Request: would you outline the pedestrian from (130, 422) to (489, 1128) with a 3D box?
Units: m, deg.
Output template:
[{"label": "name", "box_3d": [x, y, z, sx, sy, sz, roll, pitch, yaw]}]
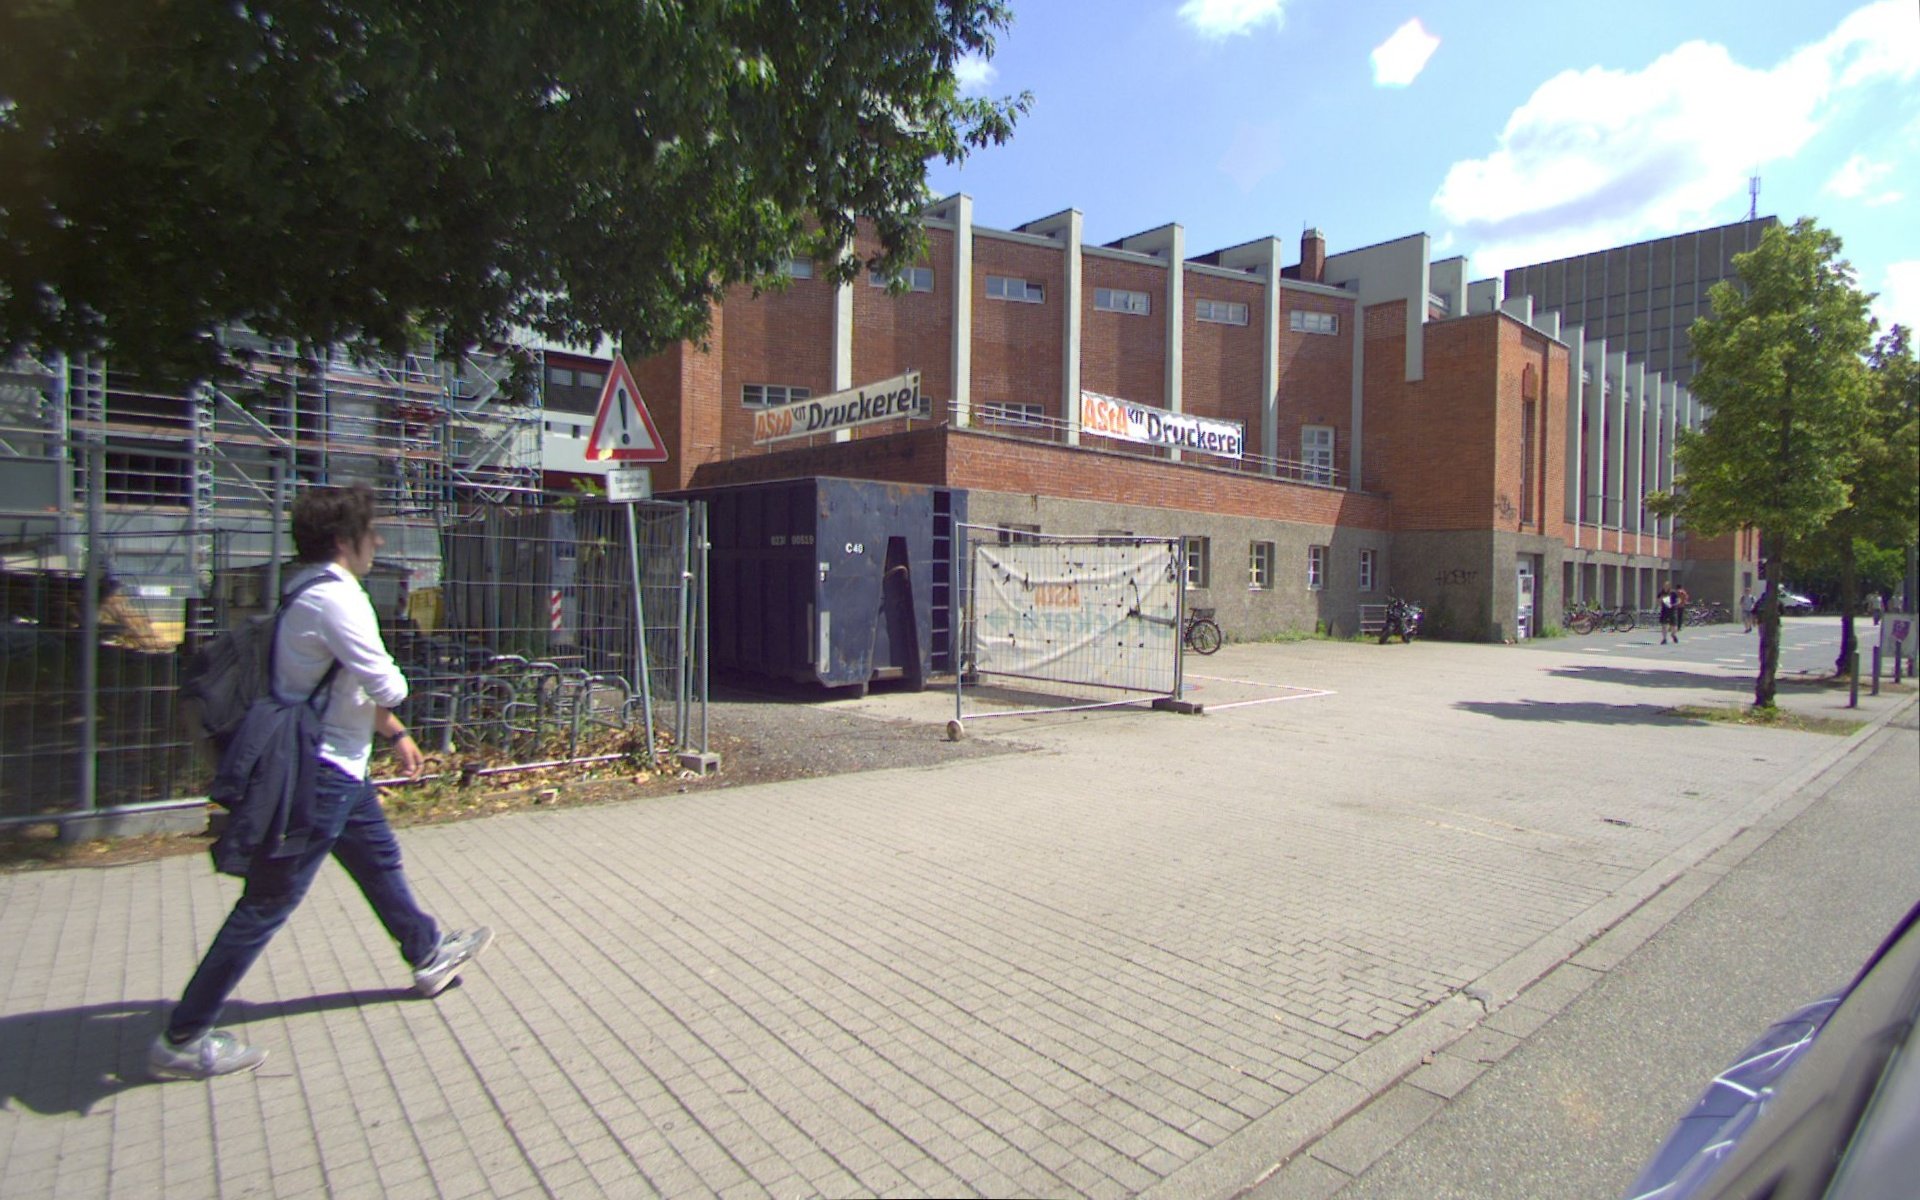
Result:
[{"label": "pedestrian", "box_3d": [-1.987, 0.435, 3.102, 0.694, 1.803, 0.775, 2, 1, 42]}]

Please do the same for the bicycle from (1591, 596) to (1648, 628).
[{"label": "bicycle", "box_3d": [24.143, 0.428, 37.081, 0.428, 1.124, 1.684, 0, 1, -43]}]

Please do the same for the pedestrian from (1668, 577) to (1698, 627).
[{"label": "pedestrian", "box_3d": [27.506, 0.060, 38.505, 0.889, 1.857, 0.665, 0, 1, -38]}]

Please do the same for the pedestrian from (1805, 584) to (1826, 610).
[{"label": "pedestrian", "box_3d": [66.187, -0.263, 78.317, 0.973, 1.970, 0.970, 1, 1, 25]}]

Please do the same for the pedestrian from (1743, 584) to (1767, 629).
[{"label": "pedestrian", "box_3d": [31.307, 0.251, 39.863, 0.986, 1.728, 0.585, -1, 2, -44]}]

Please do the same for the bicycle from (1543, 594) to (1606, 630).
[{"label": "bicycle", "box_3d": [20.601, 0.391, 33.960, 0.428, 1.164, 1.755, 0, 1, -43]}]

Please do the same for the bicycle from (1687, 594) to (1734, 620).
[{"label": "bicycle", "box_3d": [34.995, 0.321, 47.187, 0.428, 1.124, 1.696, 0, 1, -43]}]

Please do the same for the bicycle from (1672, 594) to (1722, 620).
[{"label": "bicycle", "box_3d": [33.266, 0.308, 45.696, 0.428, 1.124, 1.799, 0, 1, -43]}]

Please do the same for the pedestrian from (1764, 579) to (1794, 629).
[{"label": "pedestrian", "box_3d": [31.715, 0.135, 39.194, 1.090, 1.913, 0.665, -1, 2, -40]}]

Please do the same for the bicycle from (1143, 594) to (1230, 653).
[{"label": "bicycle", "box_3d": [4.624, 0.465, 20.770, 0.440, 1.123, 1.809, 0, 1, -41]}]

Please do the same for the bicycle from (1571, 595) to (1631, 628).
[{"label": "bicycle", "box_3d": [22.967, 0.392, 36.280, 0.428, 1.124, 1.749, 0, 1, -43]}]

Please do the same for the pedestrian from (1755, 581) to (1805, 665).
[{"label": "pedestrian", "box_3d": [17.186, 0.463, 21.221, 0.778, 1.718, 0.643, 0, 1, -38]}]

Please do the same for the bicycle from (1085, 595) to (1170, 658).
[{"label": "bicycle", "box_3d": [3.186, 0.484, 19.342, 0.440, 1.123, 1.704, 0, 1, -41]}]

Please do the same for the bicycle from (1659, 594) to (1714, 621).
[{"label": "bicycle", "box_3d": [31.940, 0.327, 44.505, 0.428, 1.124, 1.913, 0, 1, -43]}]

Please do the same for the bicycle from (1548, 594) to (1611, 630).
[{"label": "bicycle", "box_3d": [21.201, 0.387, 34.655, 0.509, 1.164, 1.755, 0, 1, -43]}]

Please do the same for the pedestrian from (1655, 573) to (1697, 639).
[{"label": "pedestrian", "box_3d": [20.891, 0.157, 29.506, 0.844, 1.857, 1.179, 1, 1, 43]}]

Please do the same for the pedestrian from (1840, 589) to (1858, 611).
[{"label": "pedestrian", "box_3d": [67.962, -0.002, 77.354, 0.743, 1.694, 0.839, 2, 1, 24]}]

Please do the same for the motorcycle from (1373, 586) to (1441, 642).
[{"label": "motorcycle", "box_3d": [11.361, 0.335, 25.701, 2.181, 1.340, 0.697, 0, 1, -40]}]

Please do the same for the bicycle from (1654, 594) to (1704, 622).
[{"label": "bicycle", "box_3d": [30.767, 0.344, 43.346, 0.428, 1.124, 1.684, 0, 1, -43]}]

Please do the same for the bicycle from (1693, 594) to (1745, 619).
[{"label": "bicycle", "box_3d": [36.295, 0.302, 48.398, 0.449, 1.124, 1.932, 0, 1, -43]}]
